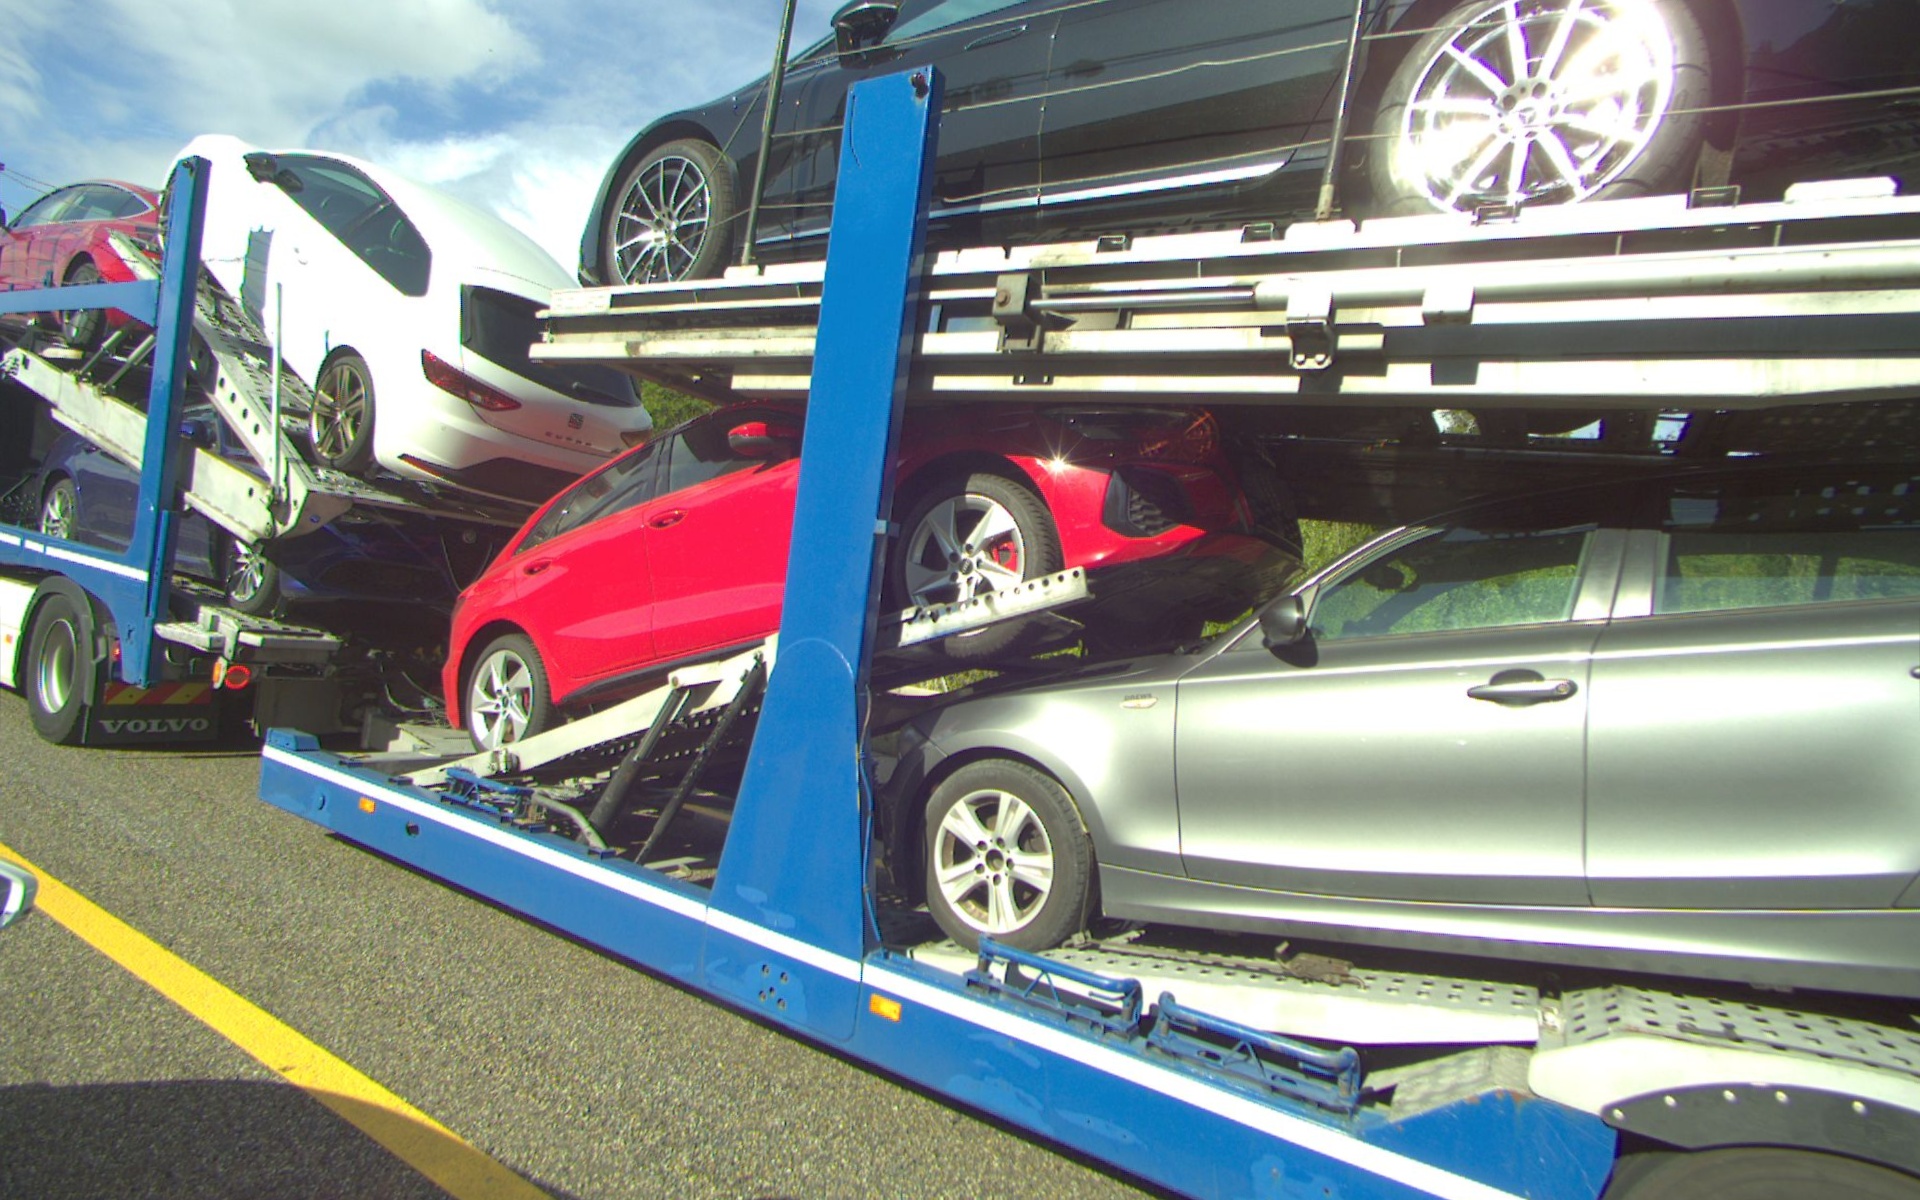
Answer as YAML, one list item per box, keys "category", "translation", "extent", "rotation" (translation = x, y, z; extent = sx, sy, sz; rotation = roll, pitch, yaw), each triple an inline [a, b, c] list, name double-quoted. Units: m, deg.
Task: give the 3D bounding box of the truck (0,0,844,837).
- category: "truck"
  translation: [-5.433, -1.165, 8.359]
  extent: [7.819, 4.245, 3.769]
  rotation: [6, -2, 31]

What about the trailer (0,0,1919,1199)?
- category: "trailer"
  translation: [1.308, -0.420, 4.178]
  extent: [15.960, 4.244, 3.733]
  rotation: [6, -2, 32]
